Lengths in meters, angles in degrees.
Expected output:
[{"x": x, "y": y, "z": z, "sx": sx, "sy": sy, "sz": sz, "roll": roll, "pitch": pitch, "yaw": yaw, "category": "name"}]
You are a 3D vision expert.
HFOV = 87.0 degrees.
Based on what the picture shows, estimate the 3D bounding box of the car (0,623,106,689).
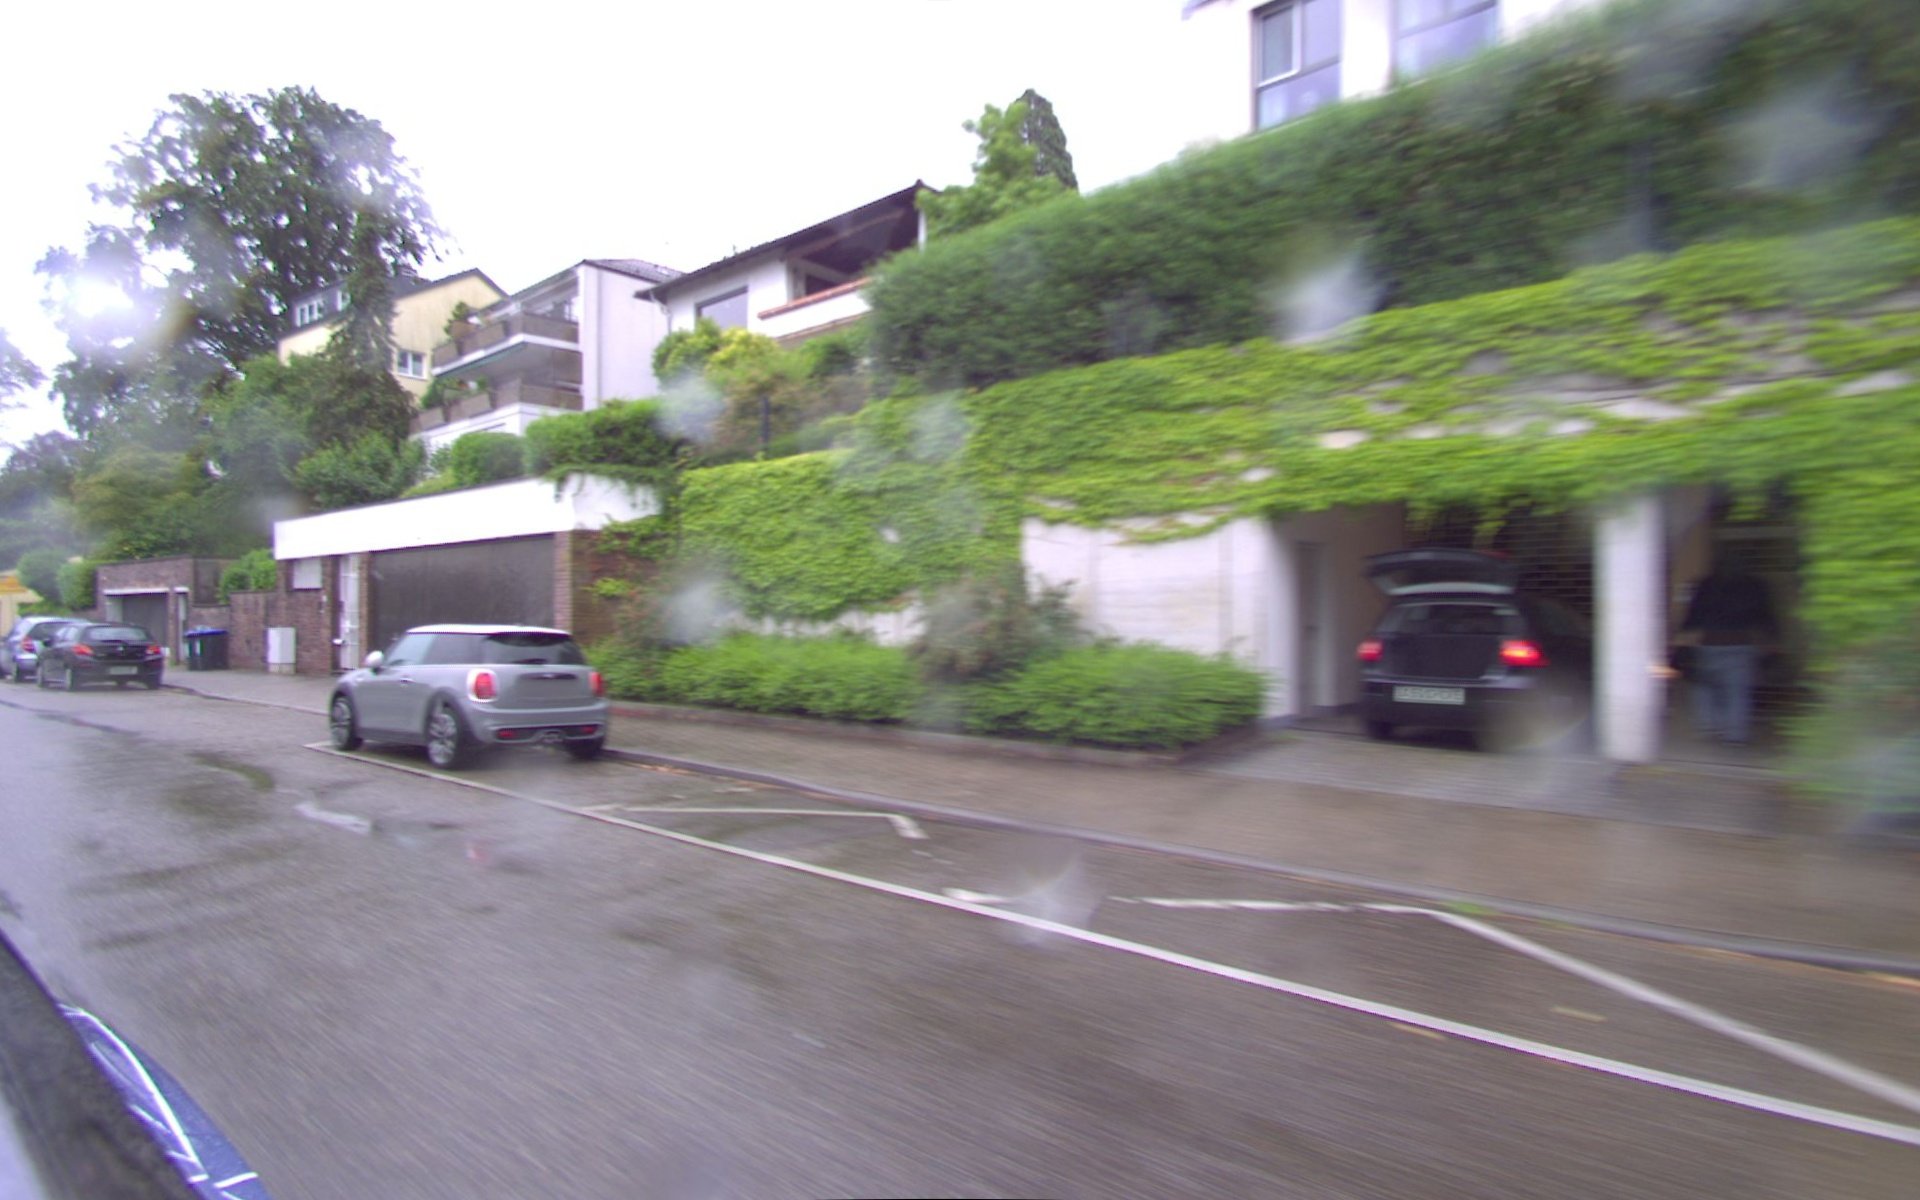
[{"x": -23.317, "y": 1.417, "z": 25.663, "sx": 3.751, "sy": 1.551, "sz": 1.739, "roll": -2, "pitch": -5, "yaw": 38, "category": "car"}]

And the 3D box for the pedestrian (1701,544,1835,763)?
[{"x": 7.489, "y": 0.462, "z": 9.384, "sx": 0.902, "sy": 1.894, "sz": 0.833, "roll": -1, "pitch": 0, "yaw": 43, "category": "pedestrian"}]

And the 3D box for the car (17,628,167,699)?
[{"x": -19.134, "y": 1.381, "z": 22.277, "sx": 3.699, "sy": 1.420, "sz": 1.739, "roll": -2, "pitch": -5, "yaw": 38, "category": "car"}]

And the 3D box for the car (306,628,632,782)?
[{"x": -5.510, "y": 1.048, "z": 11.209, "sx": 3.765, "sy": 1.413, "sz": 1.739, "roll": -1, "pitch": -4, "yaw": 38, "category": "car"}]

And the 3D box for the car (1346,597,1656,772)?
[{"x": 5.507, "y": 0.728, "z": 10.101, "sx": 1.866, "sy": 1.394, "sz": 3.717, "roll": -2, "pitch": -2, "yaw": 42, "category": "car"}]
